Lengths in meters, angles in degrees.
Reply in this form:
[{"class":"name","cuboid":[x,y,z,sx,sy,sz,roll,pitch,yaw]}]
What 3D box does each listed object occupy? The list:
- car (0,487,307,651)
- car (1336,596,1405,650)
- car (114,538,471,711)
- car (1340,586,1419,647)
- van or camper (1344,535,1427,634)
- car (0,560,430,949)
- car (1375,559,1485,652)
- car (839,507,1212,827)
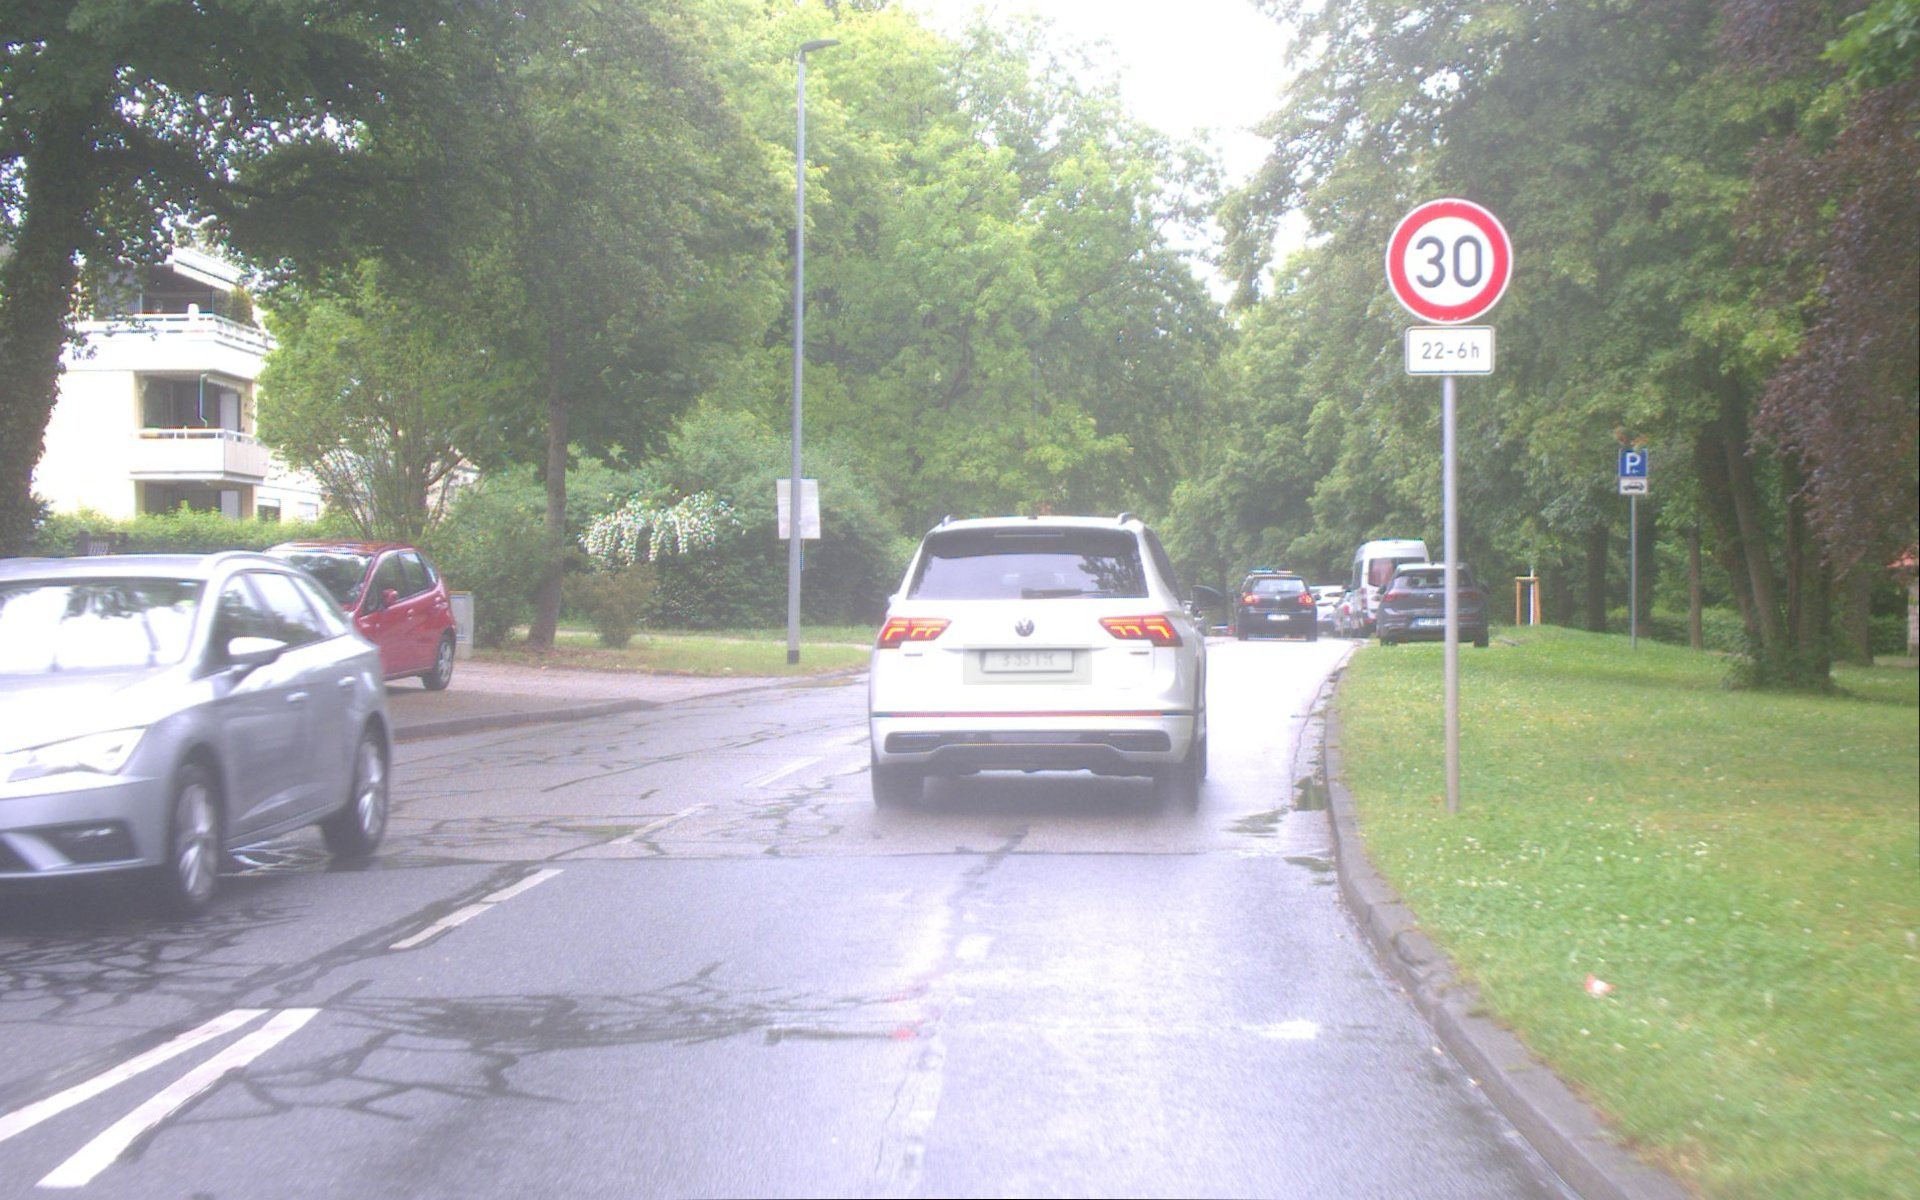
[{"class":"car","cuboid":[-12.091,-0.467,46.378,5.743,2.031,3.479,2,1,3]},{"class":"car","cuboid":[12.184,0.691,102.244,1.805,1.534,4.266,-1,-1,4]},{"class":"car","cuboid":[-6.475,0.188,33.823,1.995,1.511,3.998,3,2,12]},{"class":"car","cuboid":[10.635,0.401,87.000,1.866,1.506,3.723,0,0,8]},{"class":"van or camper","cuboid":[11.886,-0.414,95.659,2.016,2.574,8.432,2,0,8]},{"class":"car","cuboid":[-3.765,0.573,15.043,1.790,1.418,4.358,-2,1,6]},{"class":"car","cuboid":[7.756,0.092,56.783,1.701,1.457,4.216,-1,0,8]},{"class":"car","cuboid":[0.493,0.328,20.270,1.905,1.679,4.200,0,1,5]}]
